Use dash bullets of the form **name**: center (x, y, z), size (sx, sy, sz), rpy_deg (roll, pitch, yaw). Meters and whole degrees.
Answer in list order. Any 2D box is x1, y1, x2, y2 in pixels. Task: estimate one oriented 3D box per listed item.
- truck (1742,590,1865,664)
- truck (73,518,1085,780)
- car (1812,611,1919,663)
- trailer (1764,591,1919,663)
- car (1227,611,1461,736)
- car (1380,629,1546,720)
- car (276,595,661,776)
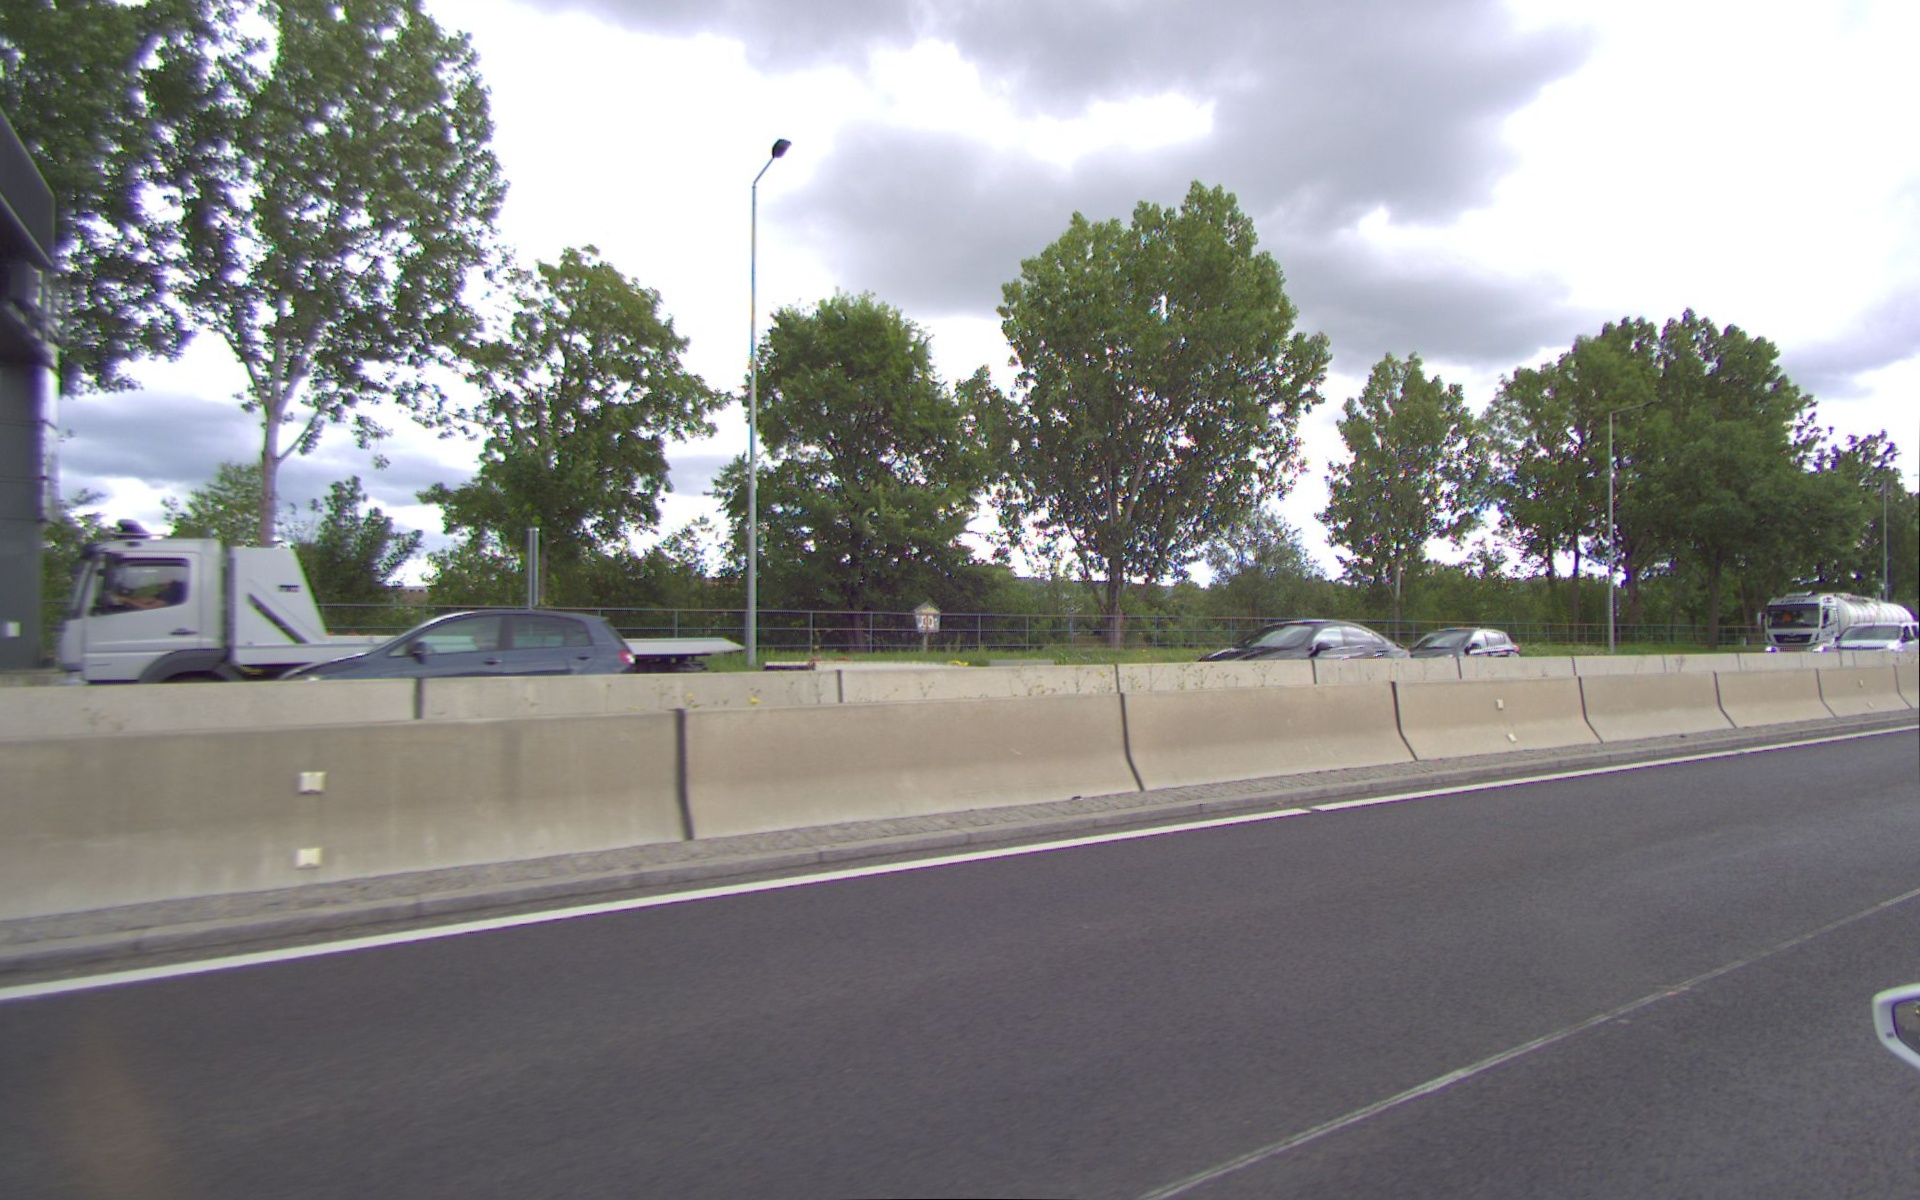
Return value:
- **truck**: center (39.851, 1.233, 47.438), size (5.336, 3.262, 3.079), rpy_deg (1, 1, -34)
- **truck**: center (-4.804, 0.692, 17.555), size (15.714, 3.149, 2.837), rpy_deg (1, 1, -33)
- **car**: center (31.689, 1.261, 34.780), size (4.644, 1.639, 1.983), rpy_deg (1, 1, -32)
- **trailer**: center (44.764, 1.345, 50.826), size (11.548, 3.263, 3.080), rpy_deg (1, 1, -35)
- **car**: center (6.788, 1.200, 17.689), size (3.955, 1.929, 1.806), rpy_deg (1, 1, -32)
- **car**: center (12.802, 1.811, 25.530), size (3.956, 2.040, 1.982), rpy_deg (1, 1, -32)
- **car**: center (-6.022, 0.947, 12.555), size (4.055, 1.902, 1.806), rpy_deg (1, 1, -32)
